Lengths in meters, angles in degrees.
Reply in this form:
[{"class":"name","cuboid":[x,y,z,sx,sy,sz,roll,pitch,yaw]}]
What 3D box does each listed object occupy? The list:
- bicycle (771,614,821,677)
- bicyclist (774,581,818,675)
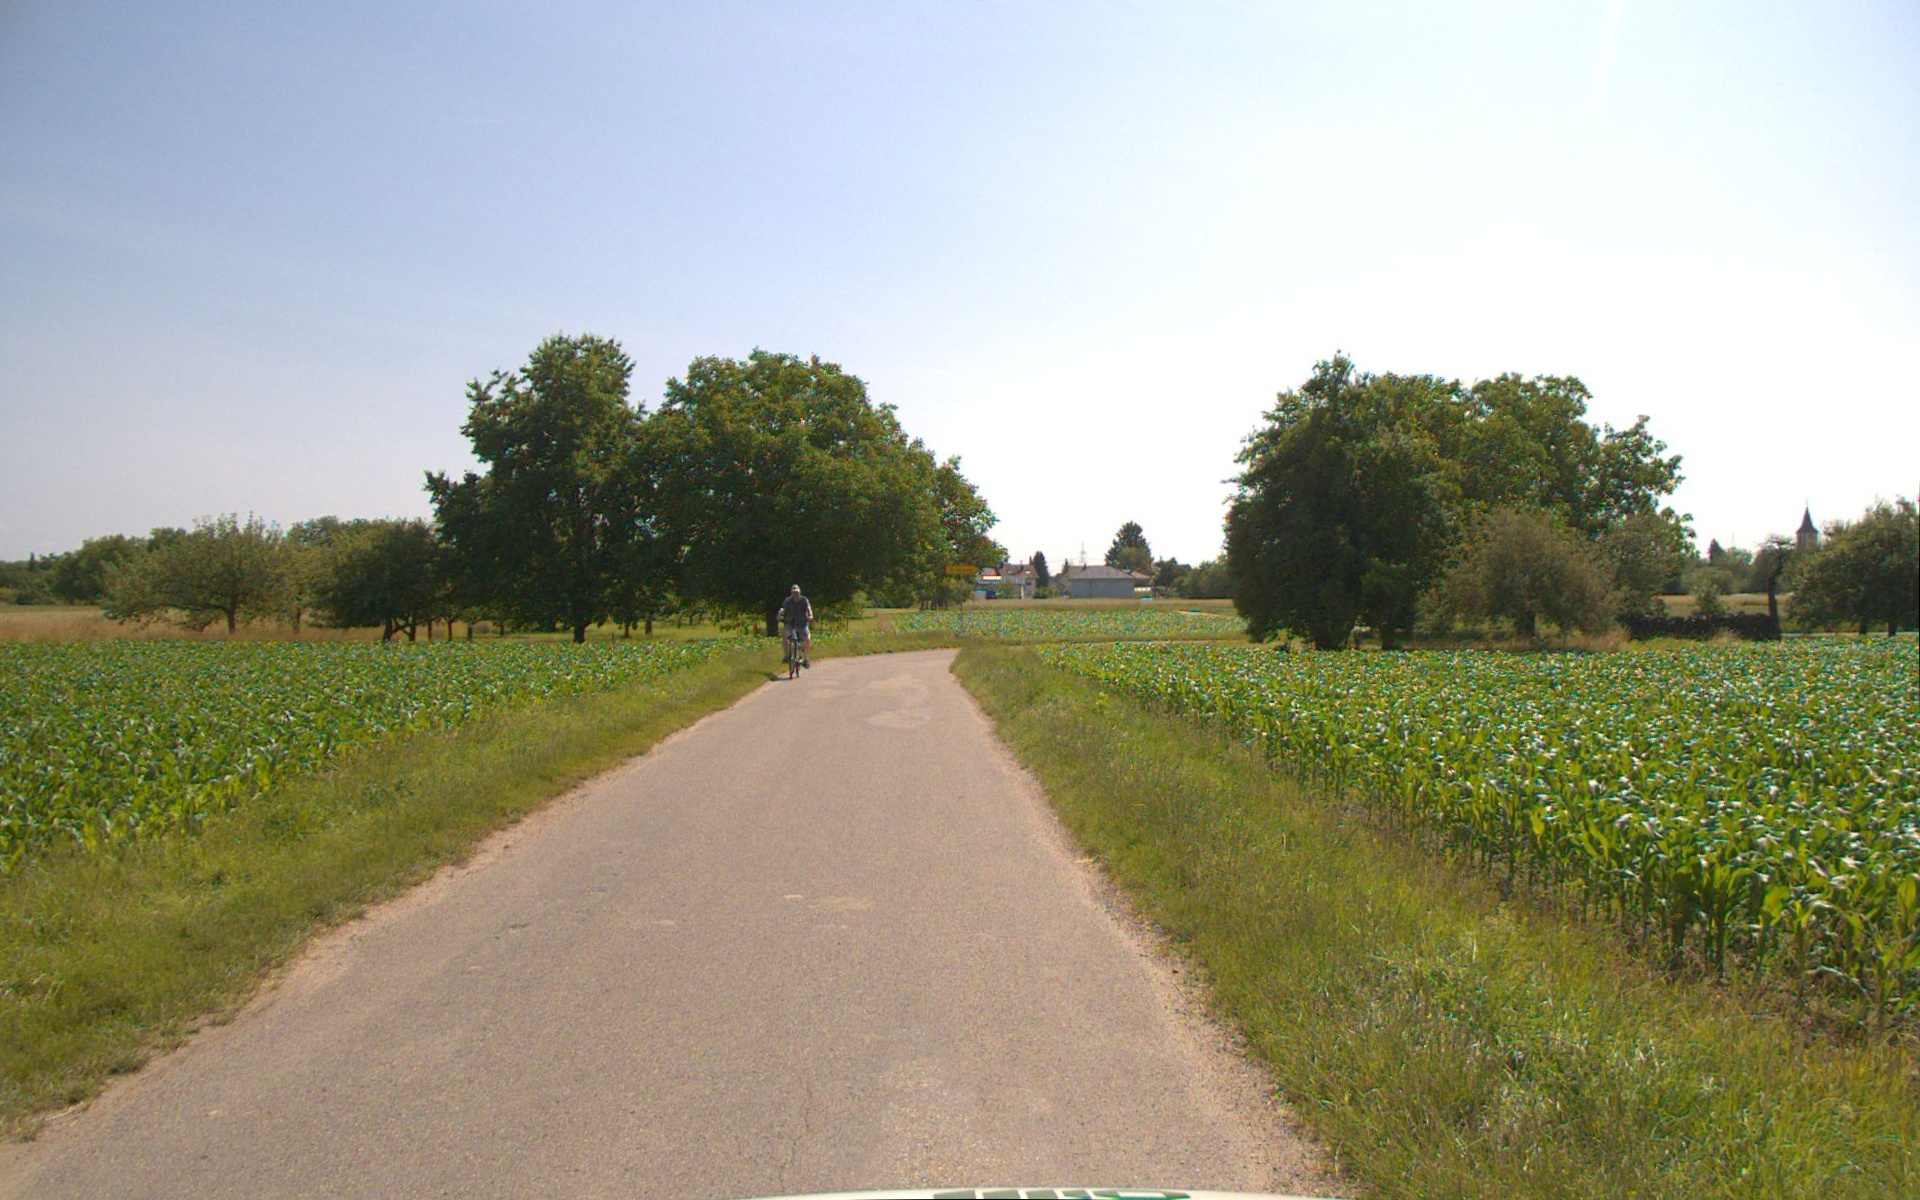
[{"class":"bicycle","cuboid":[-3.231,0.880,32.665,0.735,1.147,1.908,-2,0,1]},{"class":"bicyclist","cuboid":[-3.238,0.550,32.675,0.735,1.822,0.717,-2,0,0]}]
